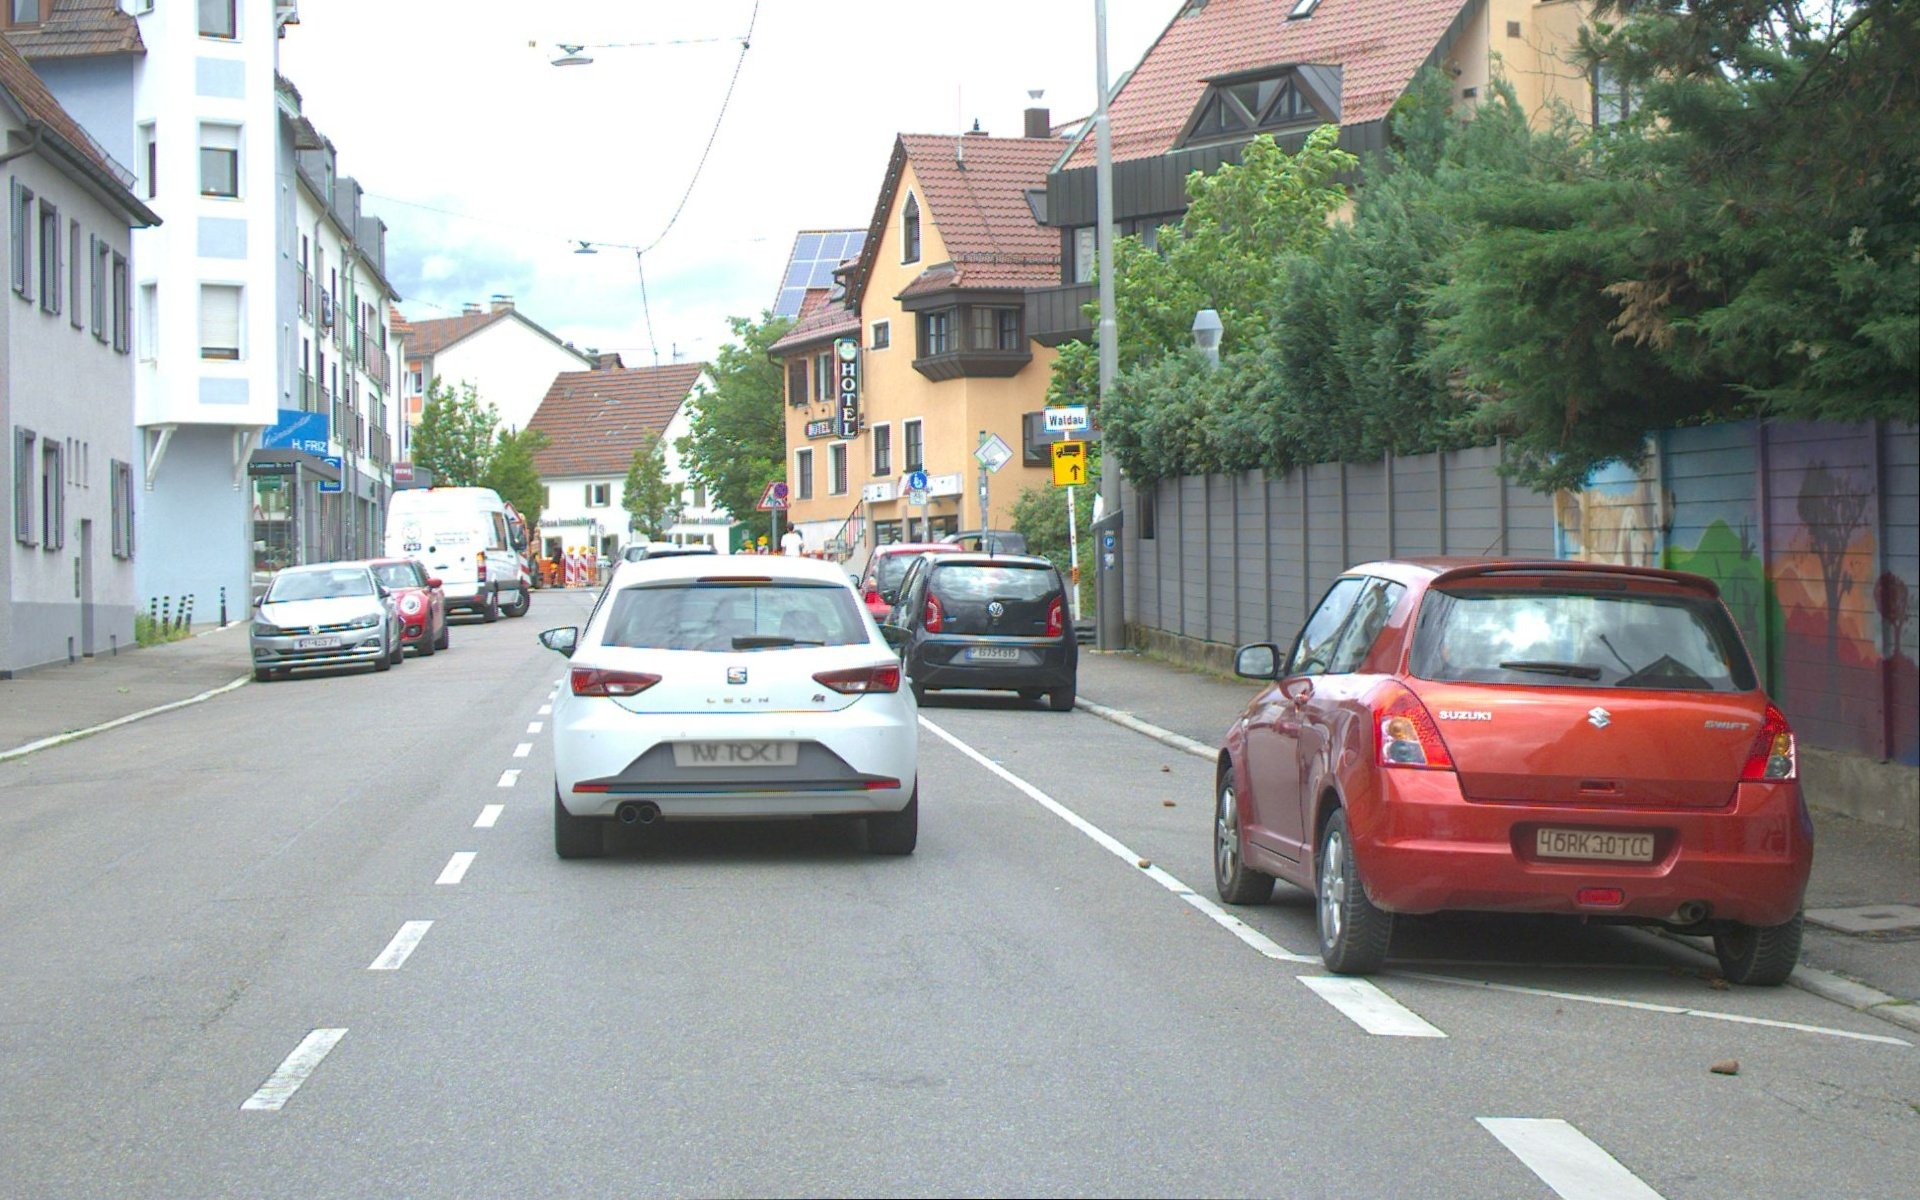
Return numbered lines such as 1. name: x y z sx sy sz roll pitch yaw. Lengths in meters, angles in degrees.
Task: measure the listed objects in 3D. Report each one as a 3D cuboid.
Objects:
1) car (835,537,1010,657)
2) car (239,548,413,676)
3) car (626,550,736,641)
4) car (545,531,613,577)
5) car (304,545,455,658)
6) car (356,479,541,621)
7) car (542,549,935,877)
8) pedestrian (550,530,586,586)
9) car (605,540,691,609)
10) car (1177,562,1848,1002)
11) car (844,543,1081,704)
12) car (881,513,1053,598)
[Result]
1. car: -0.531 -0.066 44.311 1.758 1.447 4.001 -1 1 -8
2. car: -8.256 0.125 45.067 1.799 1.474 4.052 -4 1 -5
3. car: -4.700 -0.099 57.852 1.758 1.447 4.001 -1 1 -5
4. car: -14.669 -1.789 132.489 1.794 1.696 3.999 0 1 6
5. car: -8.516 -0.007 50.688 1.799 1.474 4.052 -4 1 -5
6. car: -9.992 -1.017 67.632 2.153 2.677 5.543 0 1 8
7. car: -1.160 0.479 17.590 1.758 1.447 4.001 -1 1 -5
8. pedestrian: -14.222 -1.525 124.677 1.228 2.007 1.176 -1 1 -4
9. car: -6.808 -0.571 74.768 1.758 1.447 4.001 -1 1 -6
10. car: 2.006 0.600 13.670 1.758 1.447 4.001 1 1 -4
11. car: -0.044 0.181 33.398 1.758 1.447 4.001 -1 1 -8
12. car: 0.115 -0.837 63.598 2.807 1.507 1.709 0 3 -16
